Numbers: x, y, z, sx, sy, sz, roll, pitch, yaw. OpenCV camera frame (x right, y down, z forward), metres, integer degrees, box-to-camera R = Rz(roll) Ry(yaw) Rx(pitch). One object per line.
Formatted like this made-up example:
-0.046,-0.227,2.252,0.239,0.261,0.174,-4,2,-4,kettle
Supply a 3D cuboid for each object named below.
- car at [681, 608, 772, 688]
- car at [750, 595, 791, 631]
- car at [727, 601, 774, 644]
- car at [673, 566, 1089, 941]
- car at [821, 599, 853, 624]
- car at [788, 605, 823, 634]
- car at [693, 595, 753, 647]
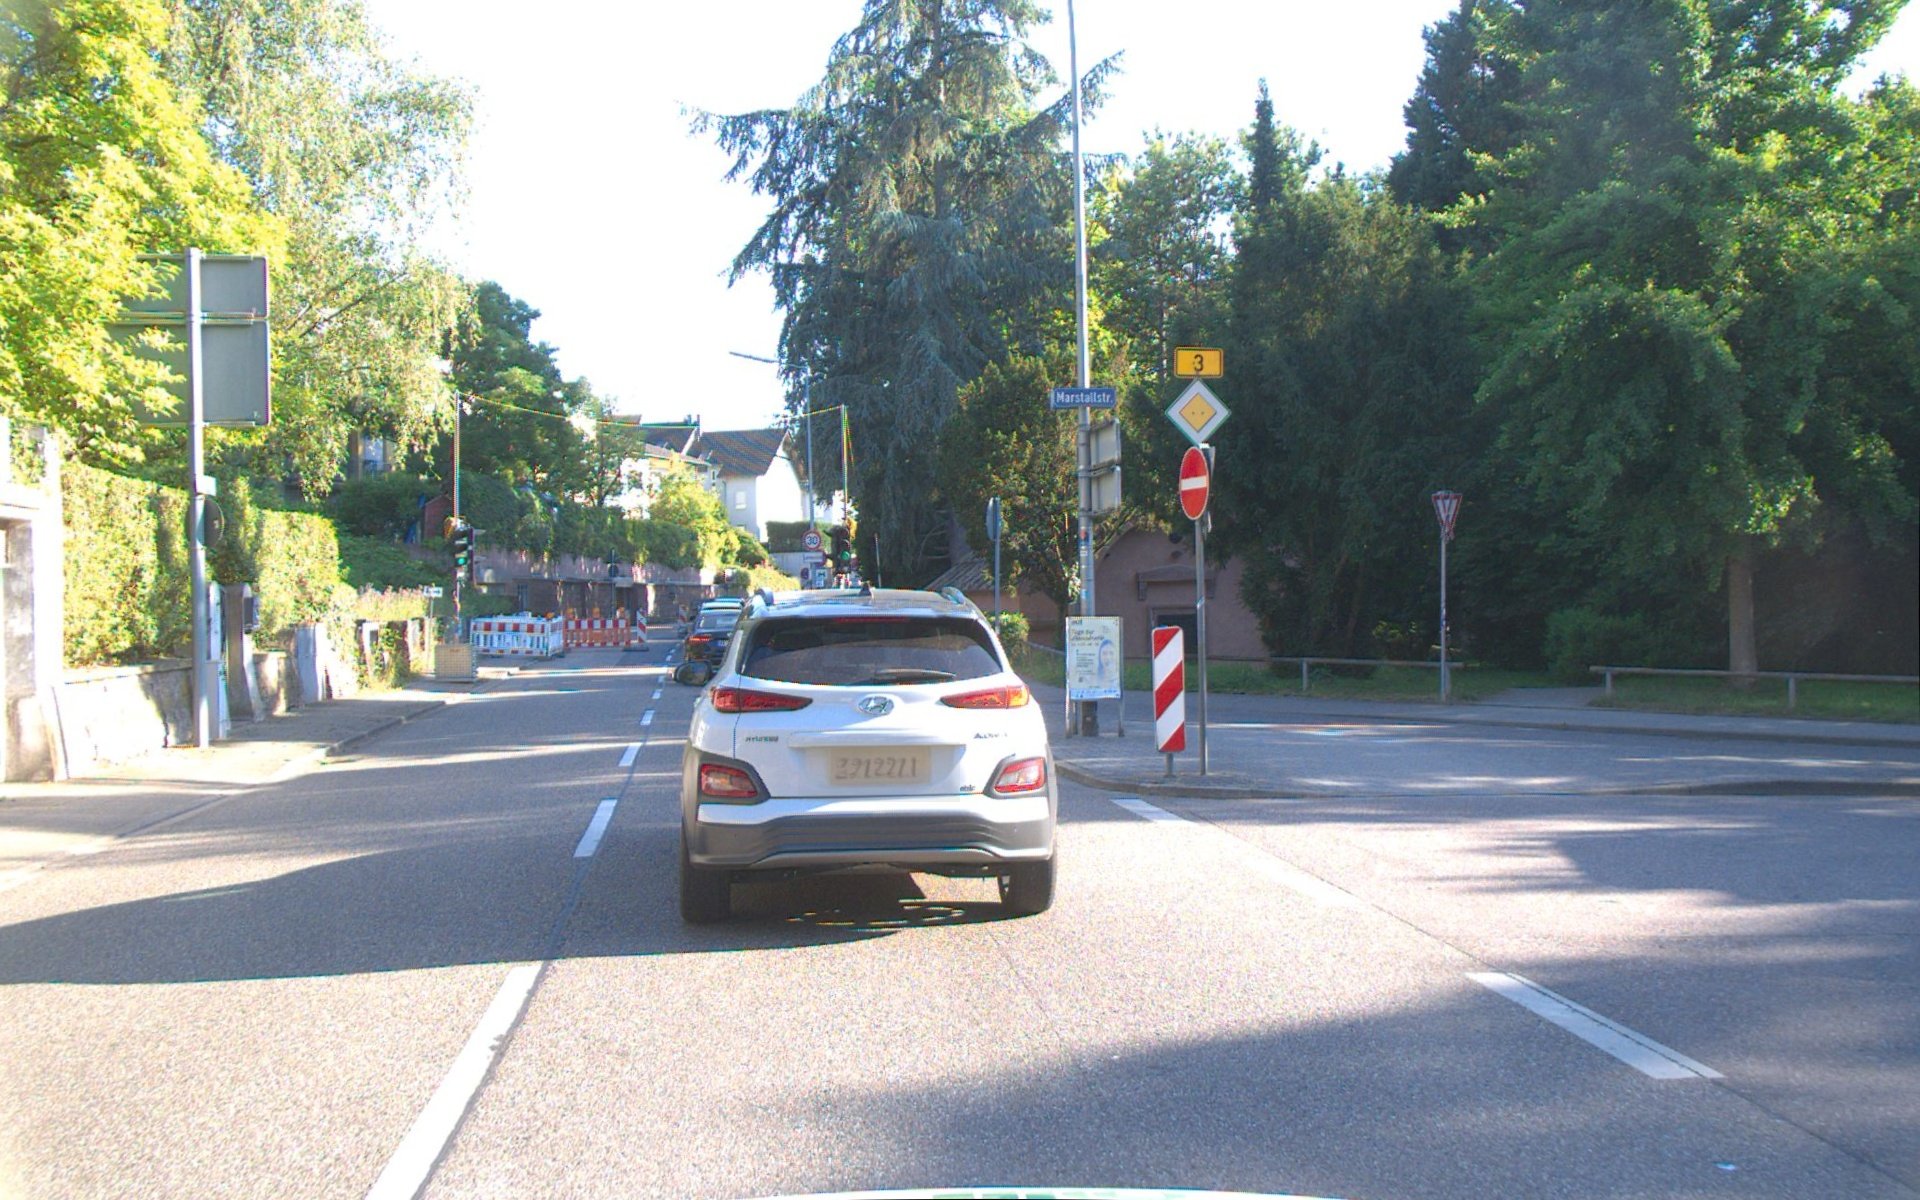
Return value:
-4.765,0.917,33.315,1.677,1.459,4.355,1,0,-10,car
-9.560,0.649,83.667,1.795,1.771,3.997,1,0,-4,car
-8.694,0.912,68.831,1.796,1.691,3.995,1,0,-5,car
-0.520,0.662,9.152,1.785,1.601,3.995,1,0,-6,car
-8.471,0.796,114.263,1.794,1.691,4.000,1,0,1,car
-9.339,1.146,100.258,1.794,1.691,3.999,1,0,-1,car
-7.520,0.649,52.329,1.772,1.564,3.991,1,0,-9,car
